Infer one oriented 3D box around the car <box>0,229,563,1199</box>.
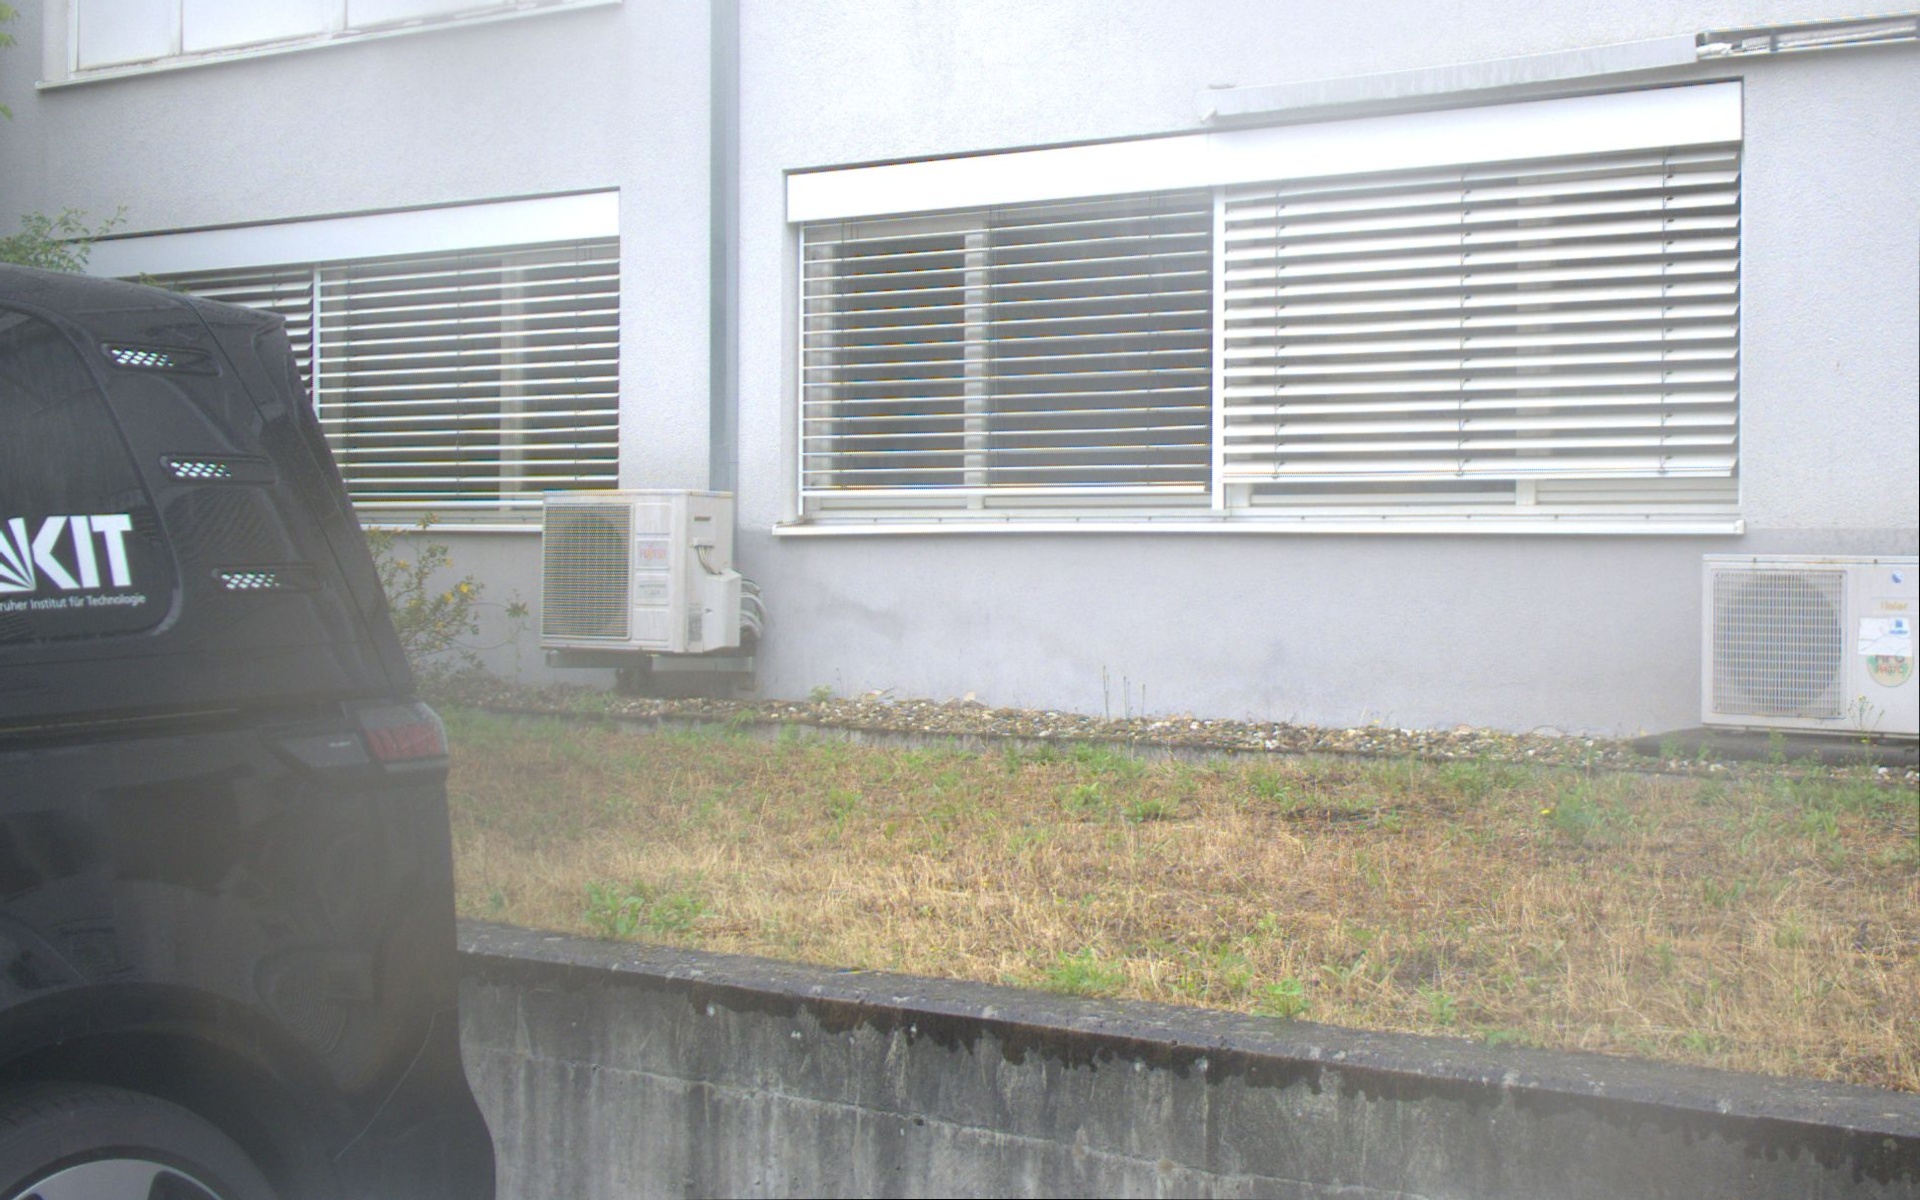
[{"bbox_3d":[-2.817,0.495,3.954,2.045,1.891,4.512,0,1,40],"label":"car"}]
